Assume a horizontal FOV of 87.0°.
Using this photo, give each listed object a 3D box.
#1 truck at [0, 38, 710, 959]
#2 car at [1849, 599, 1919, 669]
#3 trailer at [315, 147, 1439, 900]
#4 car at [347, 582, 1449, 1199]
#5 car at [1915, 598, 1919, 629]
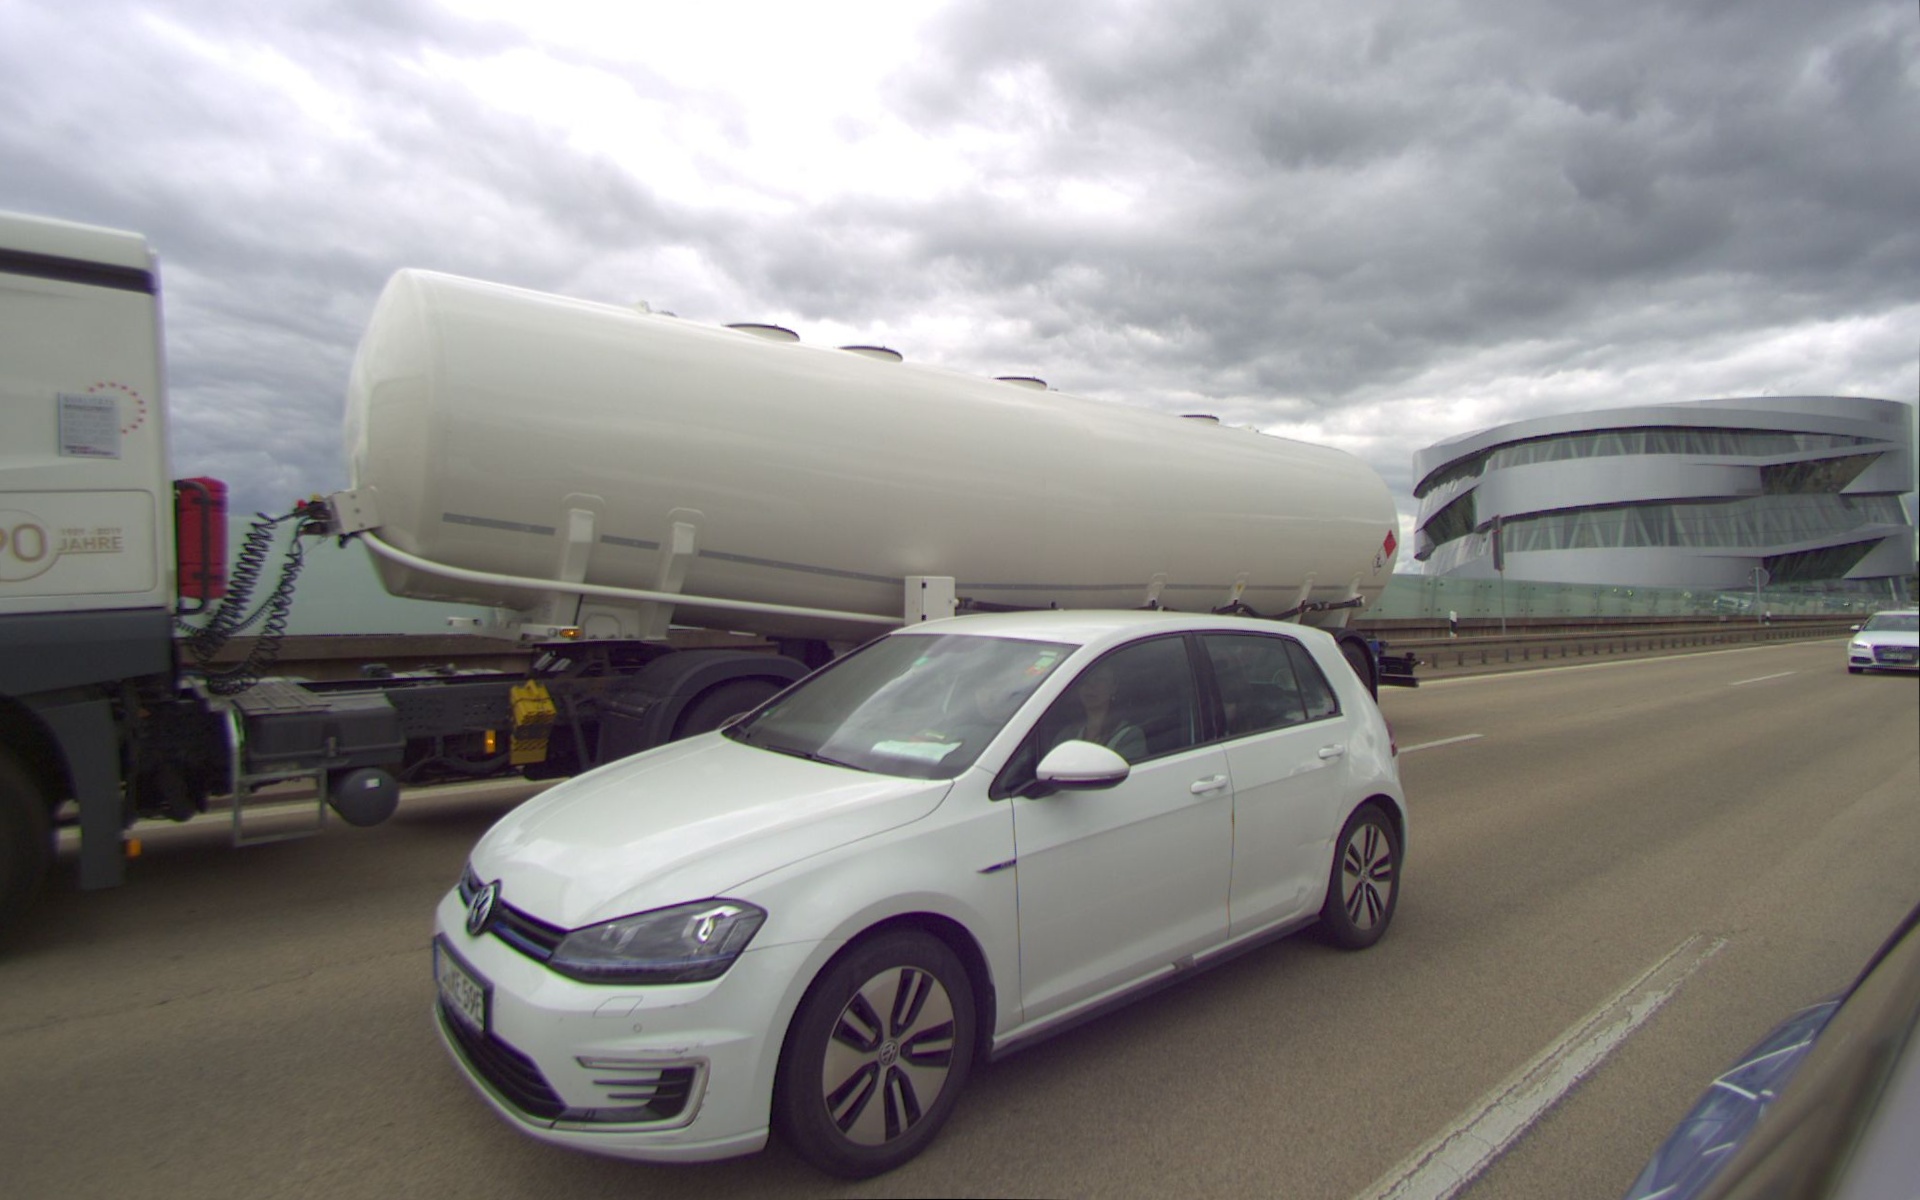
[{"bbox_3d":[-4.131,-0.419,5.289,4.818,3.558,2.636,-1,1,-41],"label":"truck"},{"bbox_3d":[21.638,0.735,22.735,3.861,1.470,1.848,1,0,-38],"label":"car"},{"bbox_3d":[0.662,-0.398,9.440,11.023,3.588,2.655,0,0,-41],"label":"trailer"},{"bbox_3d":[0.123,0.708,3.894,4.001,1.470,1.757,0,1,-42],"label":"car"},{"bbox_3d":[51.922,0.711,53.433,3.563,1.654,1.784,0,1,-40],"label":"car"}]
